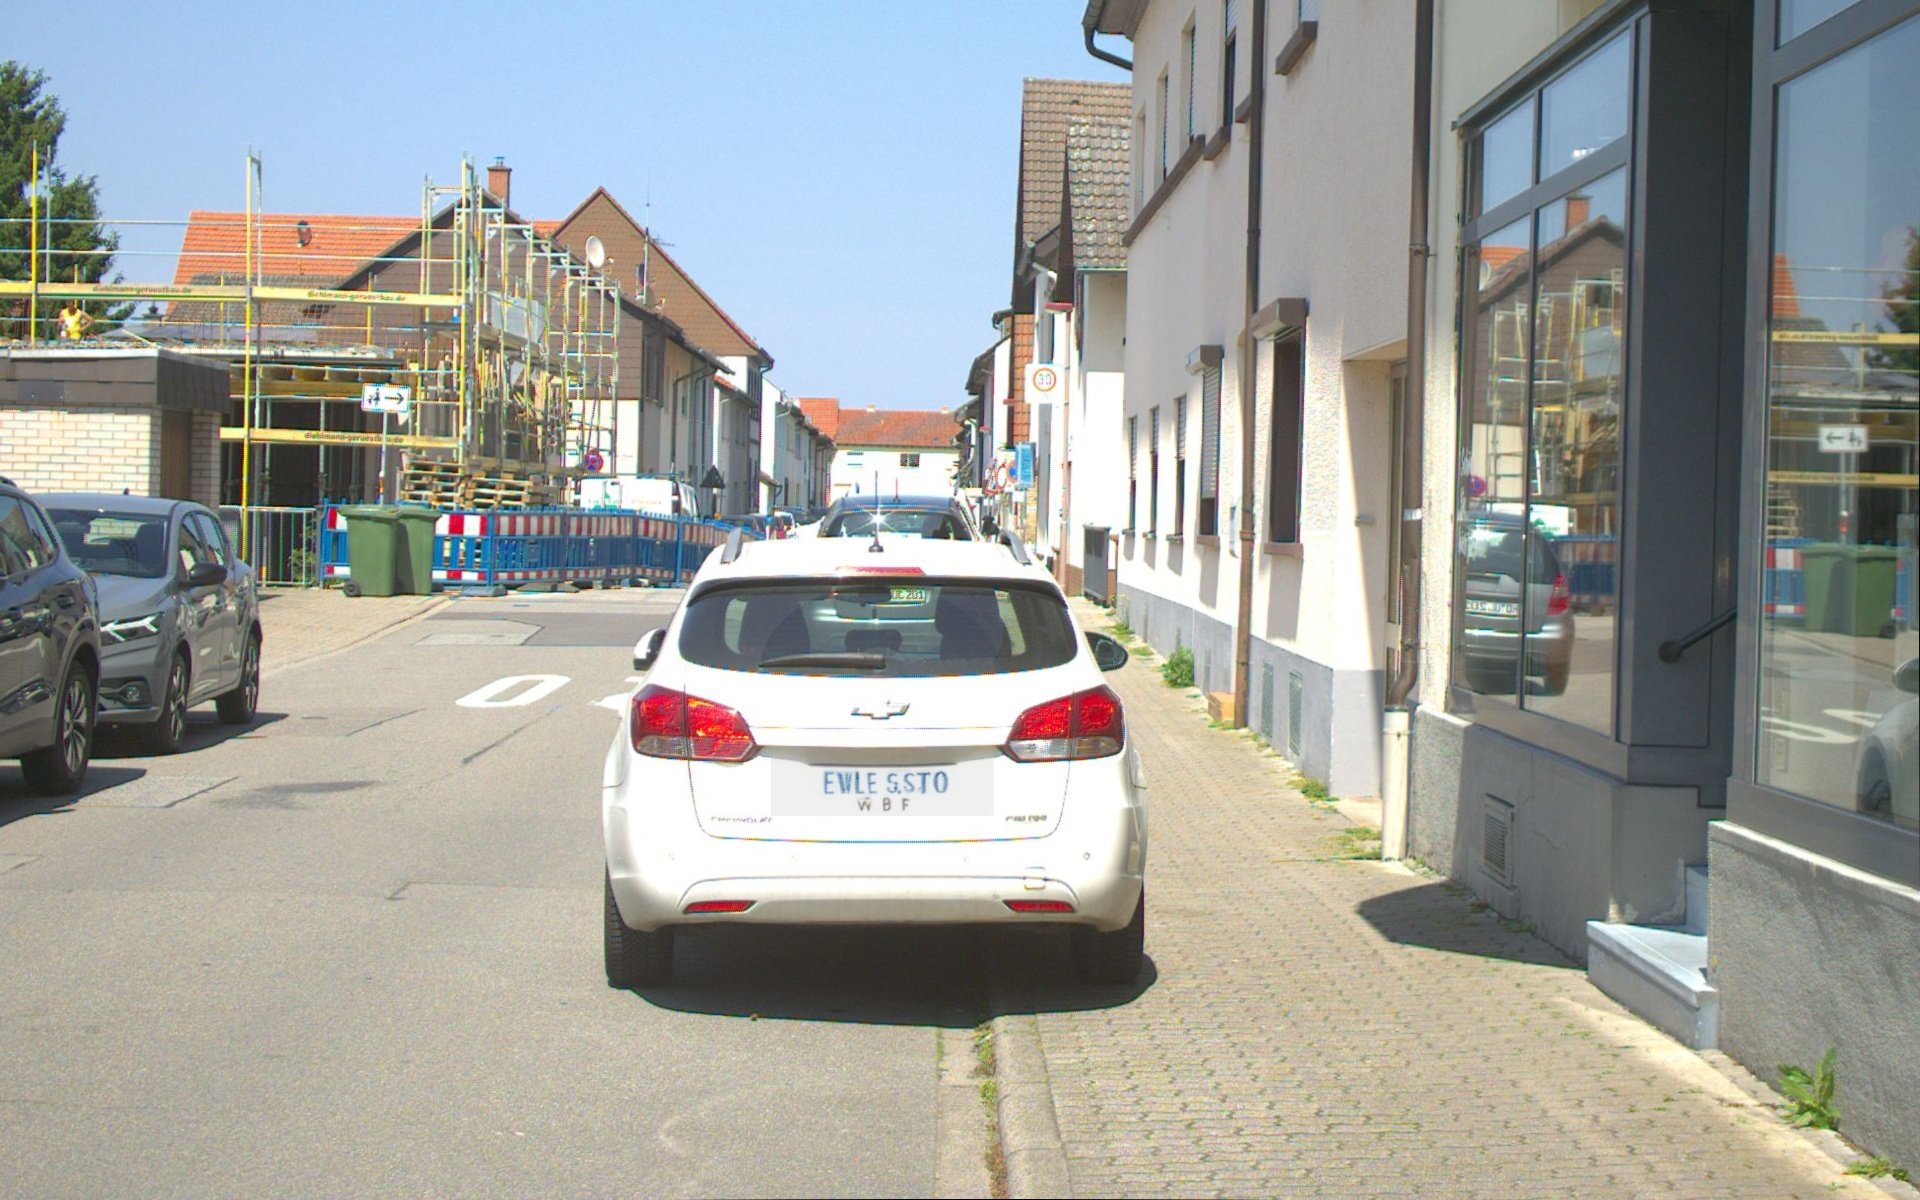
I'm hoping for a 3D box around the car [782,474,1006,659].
[{"bbox_3d":[-0.678,-0.358,32.093,1.884,1.550,3.895,-2,2,-3],"label":"car"}]

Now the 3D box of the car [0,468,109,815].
[{"bbox_3d":[-5.397,0.171,16.150,1.826,1.625,4.218,1,2,-1],"label":"car"}]

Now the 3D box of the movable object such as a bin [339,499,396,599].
[{"bbox_3d":[-7.019,-0.607,40.739,0.621,1.151,0.677,1,2,-8],"label":"movable object such as a bin"}]

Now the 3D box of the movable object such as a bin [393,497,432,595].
[{"bbox_3d":[-6.565,-0.647,41.221,0.431,1.151,0.364,1,2,-10],"label":"movable object such as a bin"}]

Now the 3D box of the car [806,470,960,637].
[{"bbox_3d":[-0.826,-0.548,37.429,1.564,1.607,3.543,1,4,-1],"label":"car"}]

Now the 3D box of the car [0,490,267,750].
[{"bbox_3d":[-5.388,0.071,21.513,1.436,1.469,3.787,1,1,-2],"label":"car"}]

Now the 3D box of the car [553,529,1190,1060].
[{"bbox_3d":[-0.438,0.549,12.474,1.886,1.536,4.244,1,2,-5],"label":"car"}]
